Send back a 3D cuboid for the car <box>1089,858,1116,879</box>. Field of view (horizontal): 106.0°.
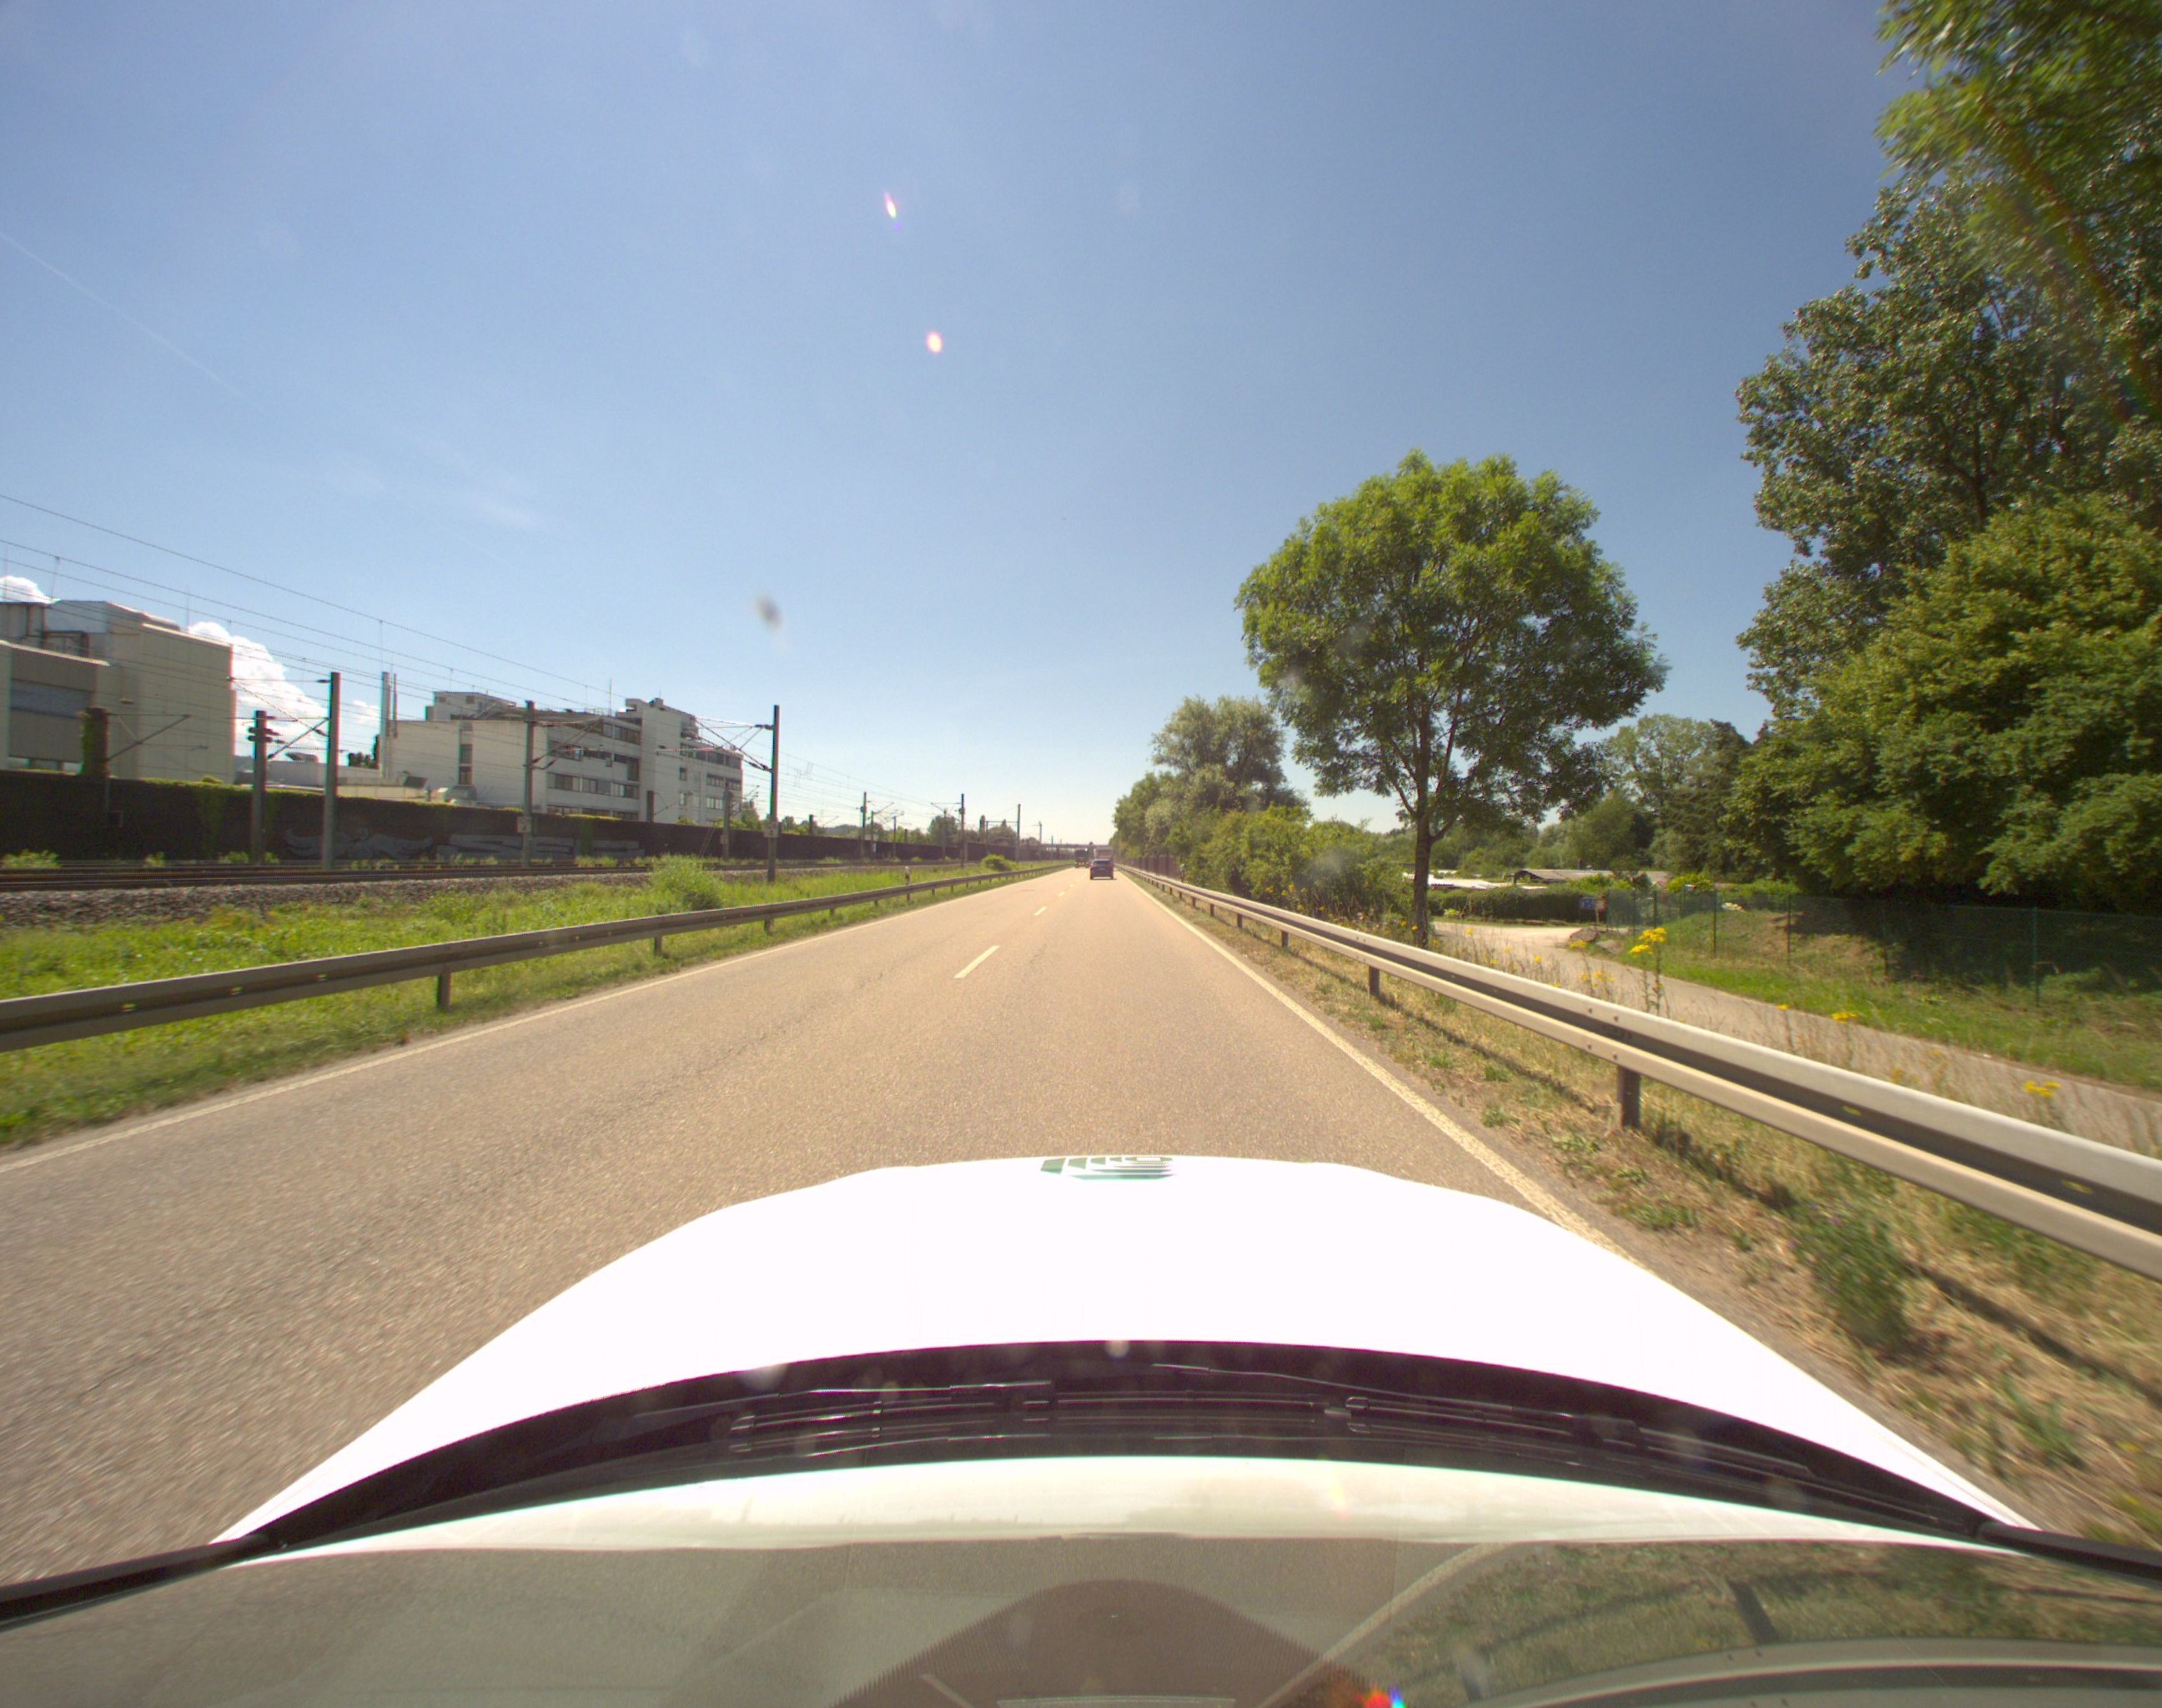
[{"bbox_3d":[1.639,1.095,63.012,1.987,1.508,3.999,-1,0,-1],"label":"car"}]

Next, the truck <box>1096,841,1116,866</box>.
[{"bbox_3d":[3.570,-0.029,116.635,2.760,3.425,10.822,0,0,2],"label":"truck"}]

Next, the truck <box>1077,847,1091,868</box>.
[{"bbox_3d":[0.596,0.644,150.927,2.649,3.627,10.977,0,0,1],"label":"truck"}]
